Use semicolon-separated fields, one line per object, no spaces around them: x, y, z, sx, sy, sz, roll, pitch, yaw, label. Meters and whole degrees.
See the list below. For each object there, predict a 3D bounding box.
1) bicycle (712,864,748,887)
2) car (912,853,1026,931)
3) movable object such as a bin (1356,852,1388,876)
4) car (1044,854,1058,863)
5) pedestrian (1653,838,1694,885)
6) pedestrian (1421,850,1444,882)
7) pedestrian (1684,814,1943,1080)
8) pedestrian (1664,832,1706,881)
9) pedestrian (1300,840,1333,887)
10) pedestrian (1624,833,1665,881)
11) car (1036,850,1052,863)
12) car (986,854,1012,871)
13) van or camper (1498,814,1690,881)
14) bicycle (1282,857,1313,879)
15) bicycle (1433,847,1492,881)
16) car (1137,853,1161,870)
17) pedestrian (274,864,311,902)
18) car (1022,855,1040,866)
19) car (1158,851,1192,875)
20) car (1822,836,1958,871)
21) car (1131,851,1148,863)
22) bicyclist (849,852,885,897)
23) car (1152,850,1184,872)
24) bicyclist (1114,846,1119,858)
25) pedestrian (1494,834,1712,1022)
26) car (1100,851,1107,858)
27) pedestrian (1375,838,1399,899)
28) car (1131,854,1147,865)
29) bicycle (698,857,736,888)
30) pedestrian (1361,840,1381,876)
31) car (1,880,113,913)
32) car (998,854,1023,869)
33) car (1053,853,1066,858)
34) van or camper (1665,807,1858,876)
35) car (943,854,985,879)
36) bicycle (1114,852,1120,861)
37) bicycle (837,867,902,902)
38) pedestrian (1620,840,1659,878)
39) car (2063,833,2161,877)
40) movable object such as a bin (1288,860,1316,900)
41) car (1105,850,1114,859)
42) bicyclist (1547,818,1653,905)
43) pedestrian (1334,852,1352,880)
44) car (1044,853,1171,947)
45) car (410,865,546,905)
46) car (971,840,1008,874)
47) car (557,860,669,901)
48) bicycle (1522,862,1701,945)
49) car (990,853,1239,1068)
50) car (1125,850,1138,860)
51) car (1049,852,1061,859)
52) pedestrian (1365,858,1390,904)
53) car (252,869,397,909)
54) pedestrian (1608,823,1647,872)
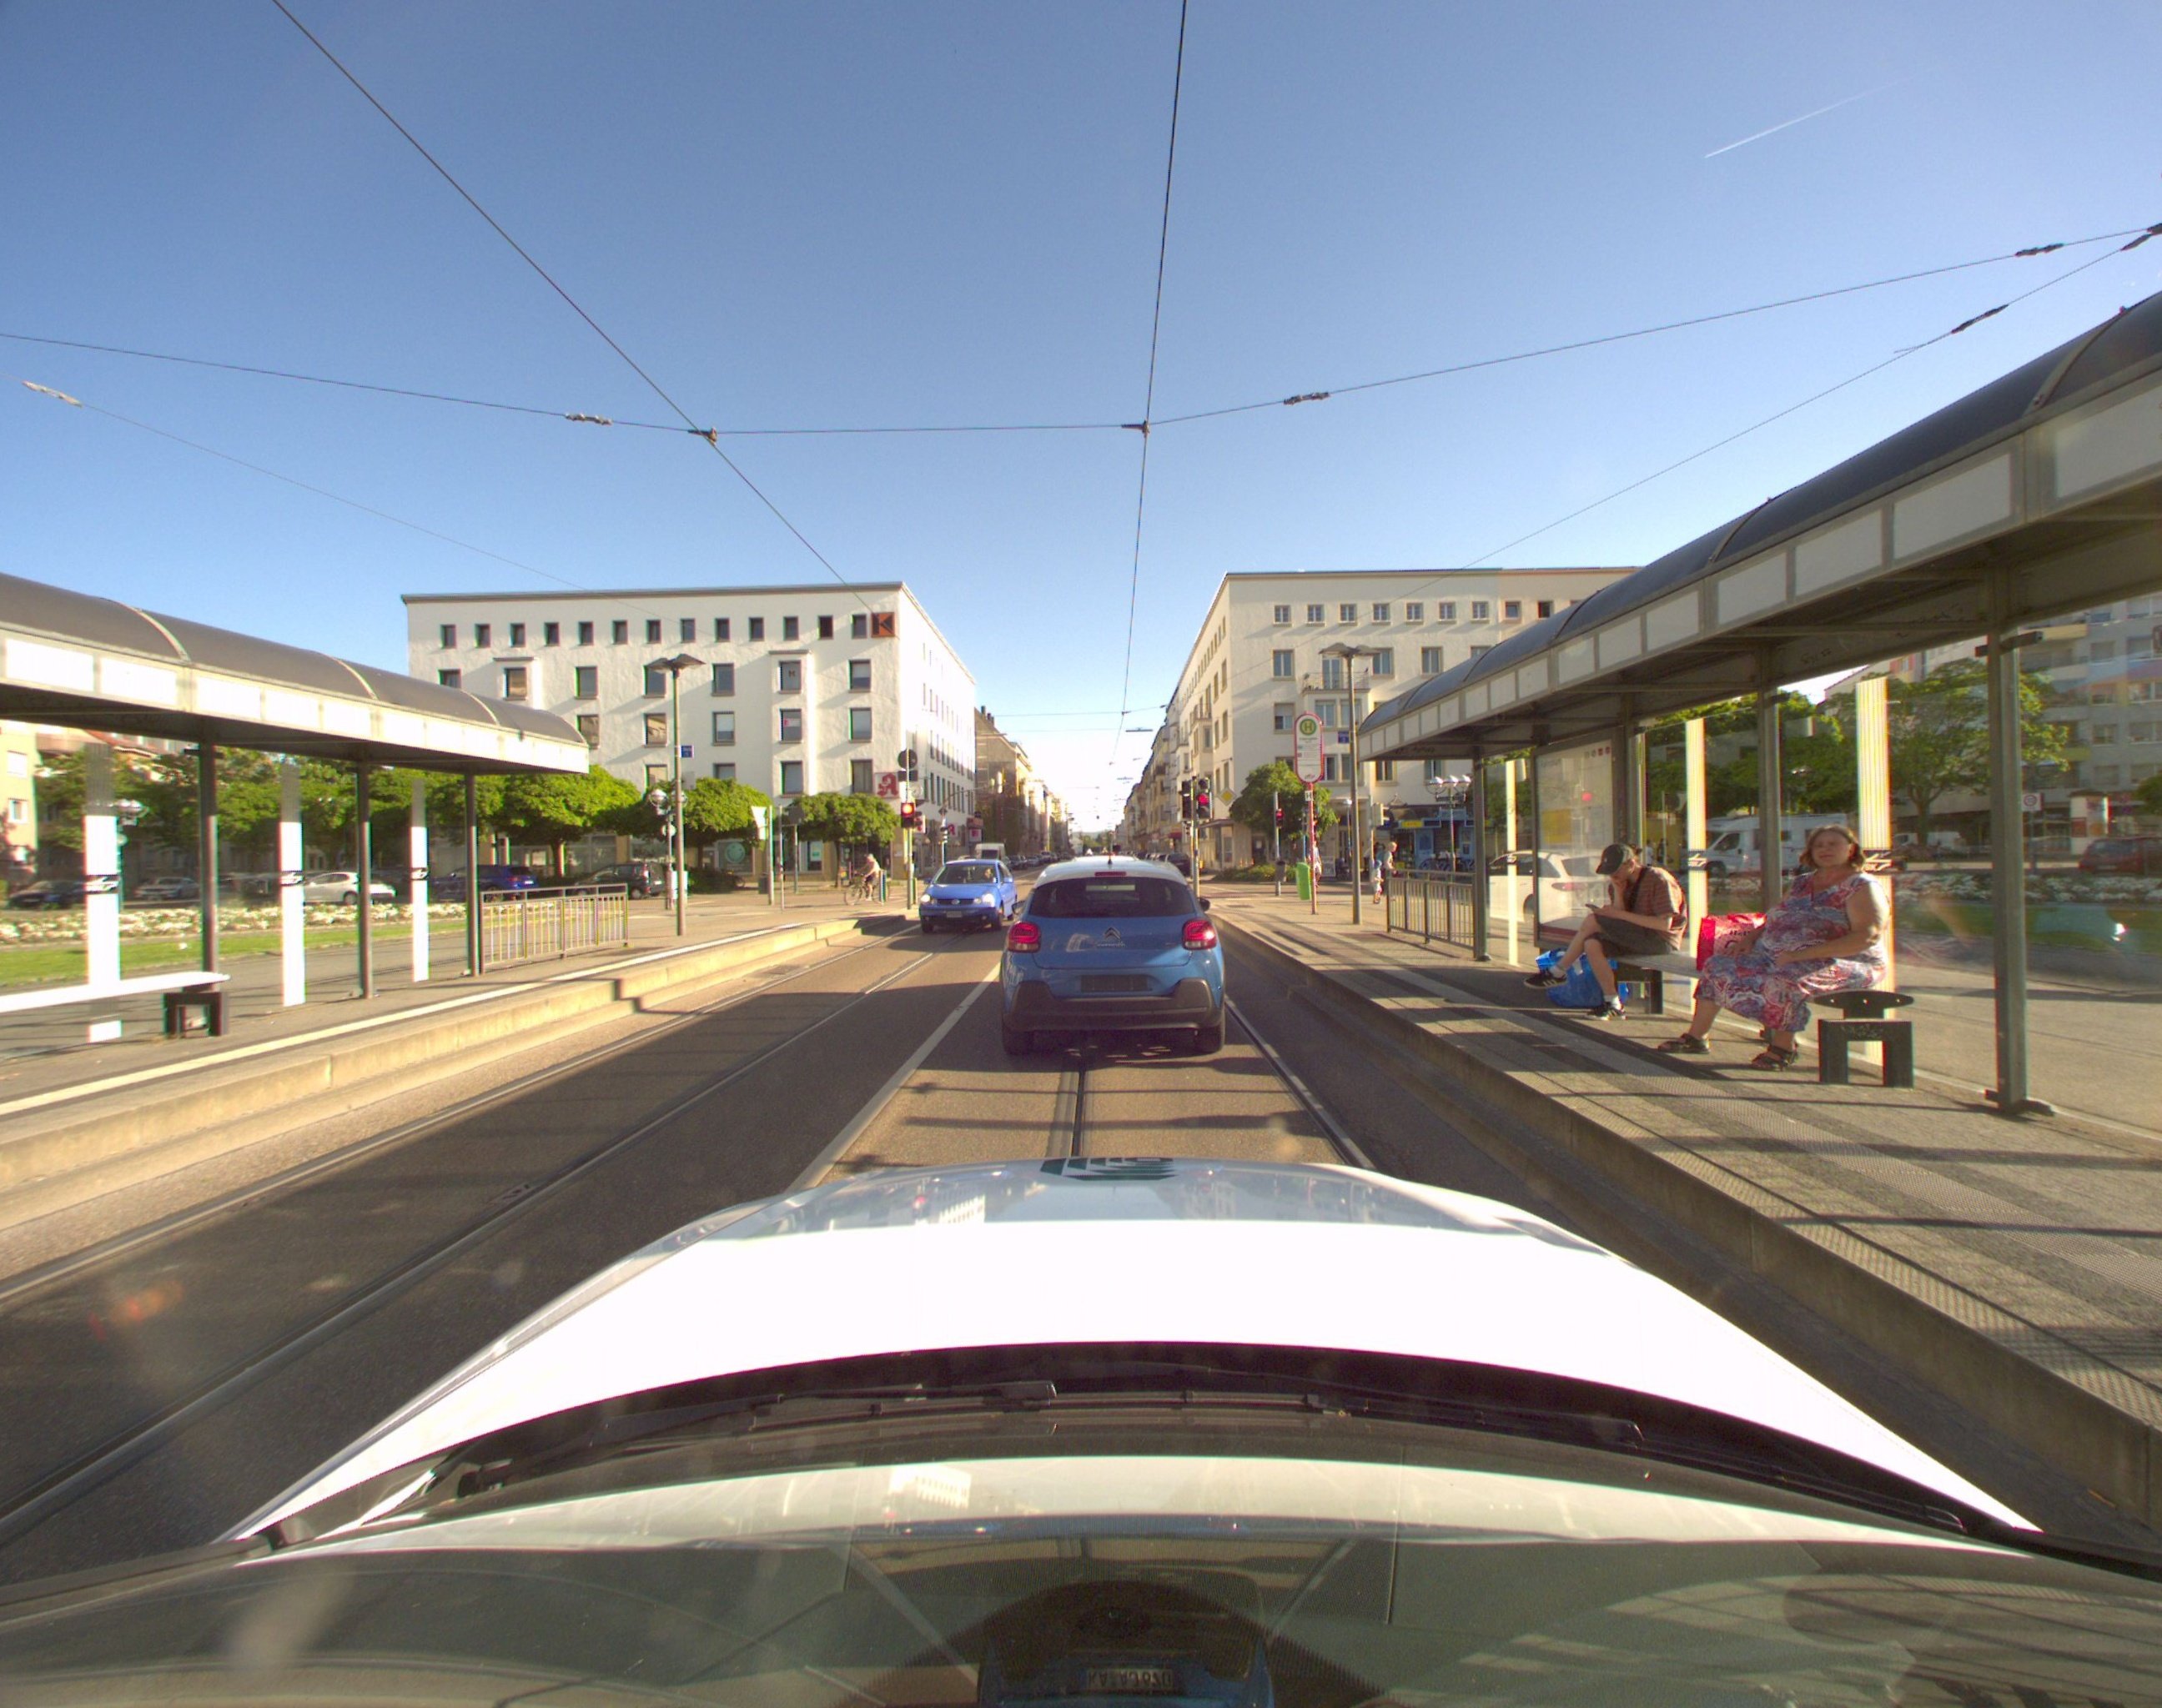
-19.078;1.145;44.306;0.615;1.190;2.624;-1;0;5;bicycle
-2.300;0.737;17.722;1.659;1.487;4.004;0;0;4;car
14.527;0.508;40.636;1.194;1.153;1.218;-1;0;2;movable object such as a bin
-5.048;0.726;137.574;1.946;1.552;3.942;0;-1;4;car
20.557;0.263;28.268;0.897;1.585;0.663;-1;0;5;pedestrian
16.094;0.541;37.303;0.727;1.409;0.755;-1;3;2;pedestrian
3.994;0.477;4.496;0.855;1.334;0.623;2;-1;1;pedestrian
19.933;0.096;26.885;0.897;1.585;0.663;-1;0;5;pedestrian
9.520;0.377;32.945;0.978;1.878;1.128;0;-1;-1;pedestrian
18.782;0.103;27.151;0.897;1.585;0.663;-1;0;5;pedestrian
-5.855;0.455;127.906;1.997;2.014;4.694;0;-1;4;car
-7.071;0.730;70.467;1.881;1.496;3.562;0;-1;1;car
22.884;-0.298;36.593;7.093;2.747;2.372;-1;1;2;van or camper
11.454;0.734;43.078;1.556;1.120;0.301;0;-1;12;bicycle
17.353;0.441;37.073;2.376;1.531;0.726;1;0;0;bicycle
6.157;0.652;73.850;1.986;1.464;4.002;-1;0;2;car
-37.970;1.390;39.225;0.938;1.817;0.872;-1;0;13;pedestrian
-6.334;0.795;104.359;1.987;1.325;3.923;0;0;1;car
6.080;0.558;52.985;1.902;1.464;4.002;-1;0;2;car
36.724;0.000;37.094;3.959;1.511;2.007;0;-1;13;car
7.410;0.377;102.708;1.986;1.464;4.507;-1;0;2;car
-7.120;0.672;27.060;0.882;1.455;0.820;0;-1;-45;bicyclist
6.094;0.460;57.473;1.986;1.464;4.002;-1;0;2;car
5.916;-0.294;135.713;0.806;2.014;0.923;0;-1;1;bicyclist
3.736;0.499;5.928;0.995;1.225;0.923;2;-1;2;pedestrian
6.058;0.106;219.600;1.986;1.778;4.001;-1;0;1;car
8.816;0.416;23.487;0.554;1.745;0.528;0;-1;12;pedestrian
7.789;0.758;110.203;1.986;1.464;4.002;-1;0;2;car
-19.802;1.006;44.348;0.614;1.607;2.625;-1;0;6;bicycle
15.254;0.200;42.846;0.781;1.839;0.679;-1;0;5;pedestrian
-52.193;2.120;41.646;1.925;1.494;4.314;0;0;-27;car
-6.842;0.732;79.156;1.987;1.398;4.157;0;0;1;car
-4.807;0.406;185.815;1.981;1.156;4.528;-1;0;11;car
30.148;-0.536;36.289;6.375;2.839;2.381;-1;0;5;van or camper
-7.623;0.804;53.353;1.987;1.569;4.403;2;0;1;car
5.935;0.417;135.646;0.916;1.389;3.133;-1;0;2;bicycle
-7.025;0.996;27.146;1.988;1.113;0.721;0;0;-44;bicycle
19.082;0.175;27.821;0.896;1.279;0.606;-1;0;8;pedestrian
38.711;0.008;29.642;3.983;1.486;1.995;-1;0;-7;car
4.372;0.508;16.139;0.447;0.786;0.489;-1;0;4;movable object such as a bin
6.223;0.132;176.668;1.986;1.772;4.002;-1;0;2;car
7.648;0.106;12.026;0.953;1.225;0.928;1;0;-16;bicyclist
12.742;0.570;39.545;0.733;1.316;0.631;-1;0;25;pedestrian
0.483;0.722;15.152;1.977;1.464;4.817;0;0;2;car
-27.157;1.366;36.775;4.591;1.662;1.999;-1;0;-1;car
-7.087;0.215;63.712;2.078;2.542;6.206;0;0;1;car
-21.218;1.184;37.032;3.973;1.706;1.826;-1;0;1;car
7.670;0.668;11.941;0.720;1.061;2.311;1;0;-15;bicycle
0.285;0.739;7.564;1.721;1.482;3.828;0;0;2;car
8.295;0.183;133.881;1.986;1.464;4.002;-1;0;2;car
-4.874;0.256;151.566;1.986;1.156;4.002;-1;0;2;car
8.064;0.721;22.157;0.554;1.225;0.528;0;-1;12;pedestrian
-33.486;1.511;36.149;4.591;1.606;1.855;-1;0;-1;car
19.212;-0.235;28.628;0.897;1.685;0.696;-1;0;5;pedestrian
